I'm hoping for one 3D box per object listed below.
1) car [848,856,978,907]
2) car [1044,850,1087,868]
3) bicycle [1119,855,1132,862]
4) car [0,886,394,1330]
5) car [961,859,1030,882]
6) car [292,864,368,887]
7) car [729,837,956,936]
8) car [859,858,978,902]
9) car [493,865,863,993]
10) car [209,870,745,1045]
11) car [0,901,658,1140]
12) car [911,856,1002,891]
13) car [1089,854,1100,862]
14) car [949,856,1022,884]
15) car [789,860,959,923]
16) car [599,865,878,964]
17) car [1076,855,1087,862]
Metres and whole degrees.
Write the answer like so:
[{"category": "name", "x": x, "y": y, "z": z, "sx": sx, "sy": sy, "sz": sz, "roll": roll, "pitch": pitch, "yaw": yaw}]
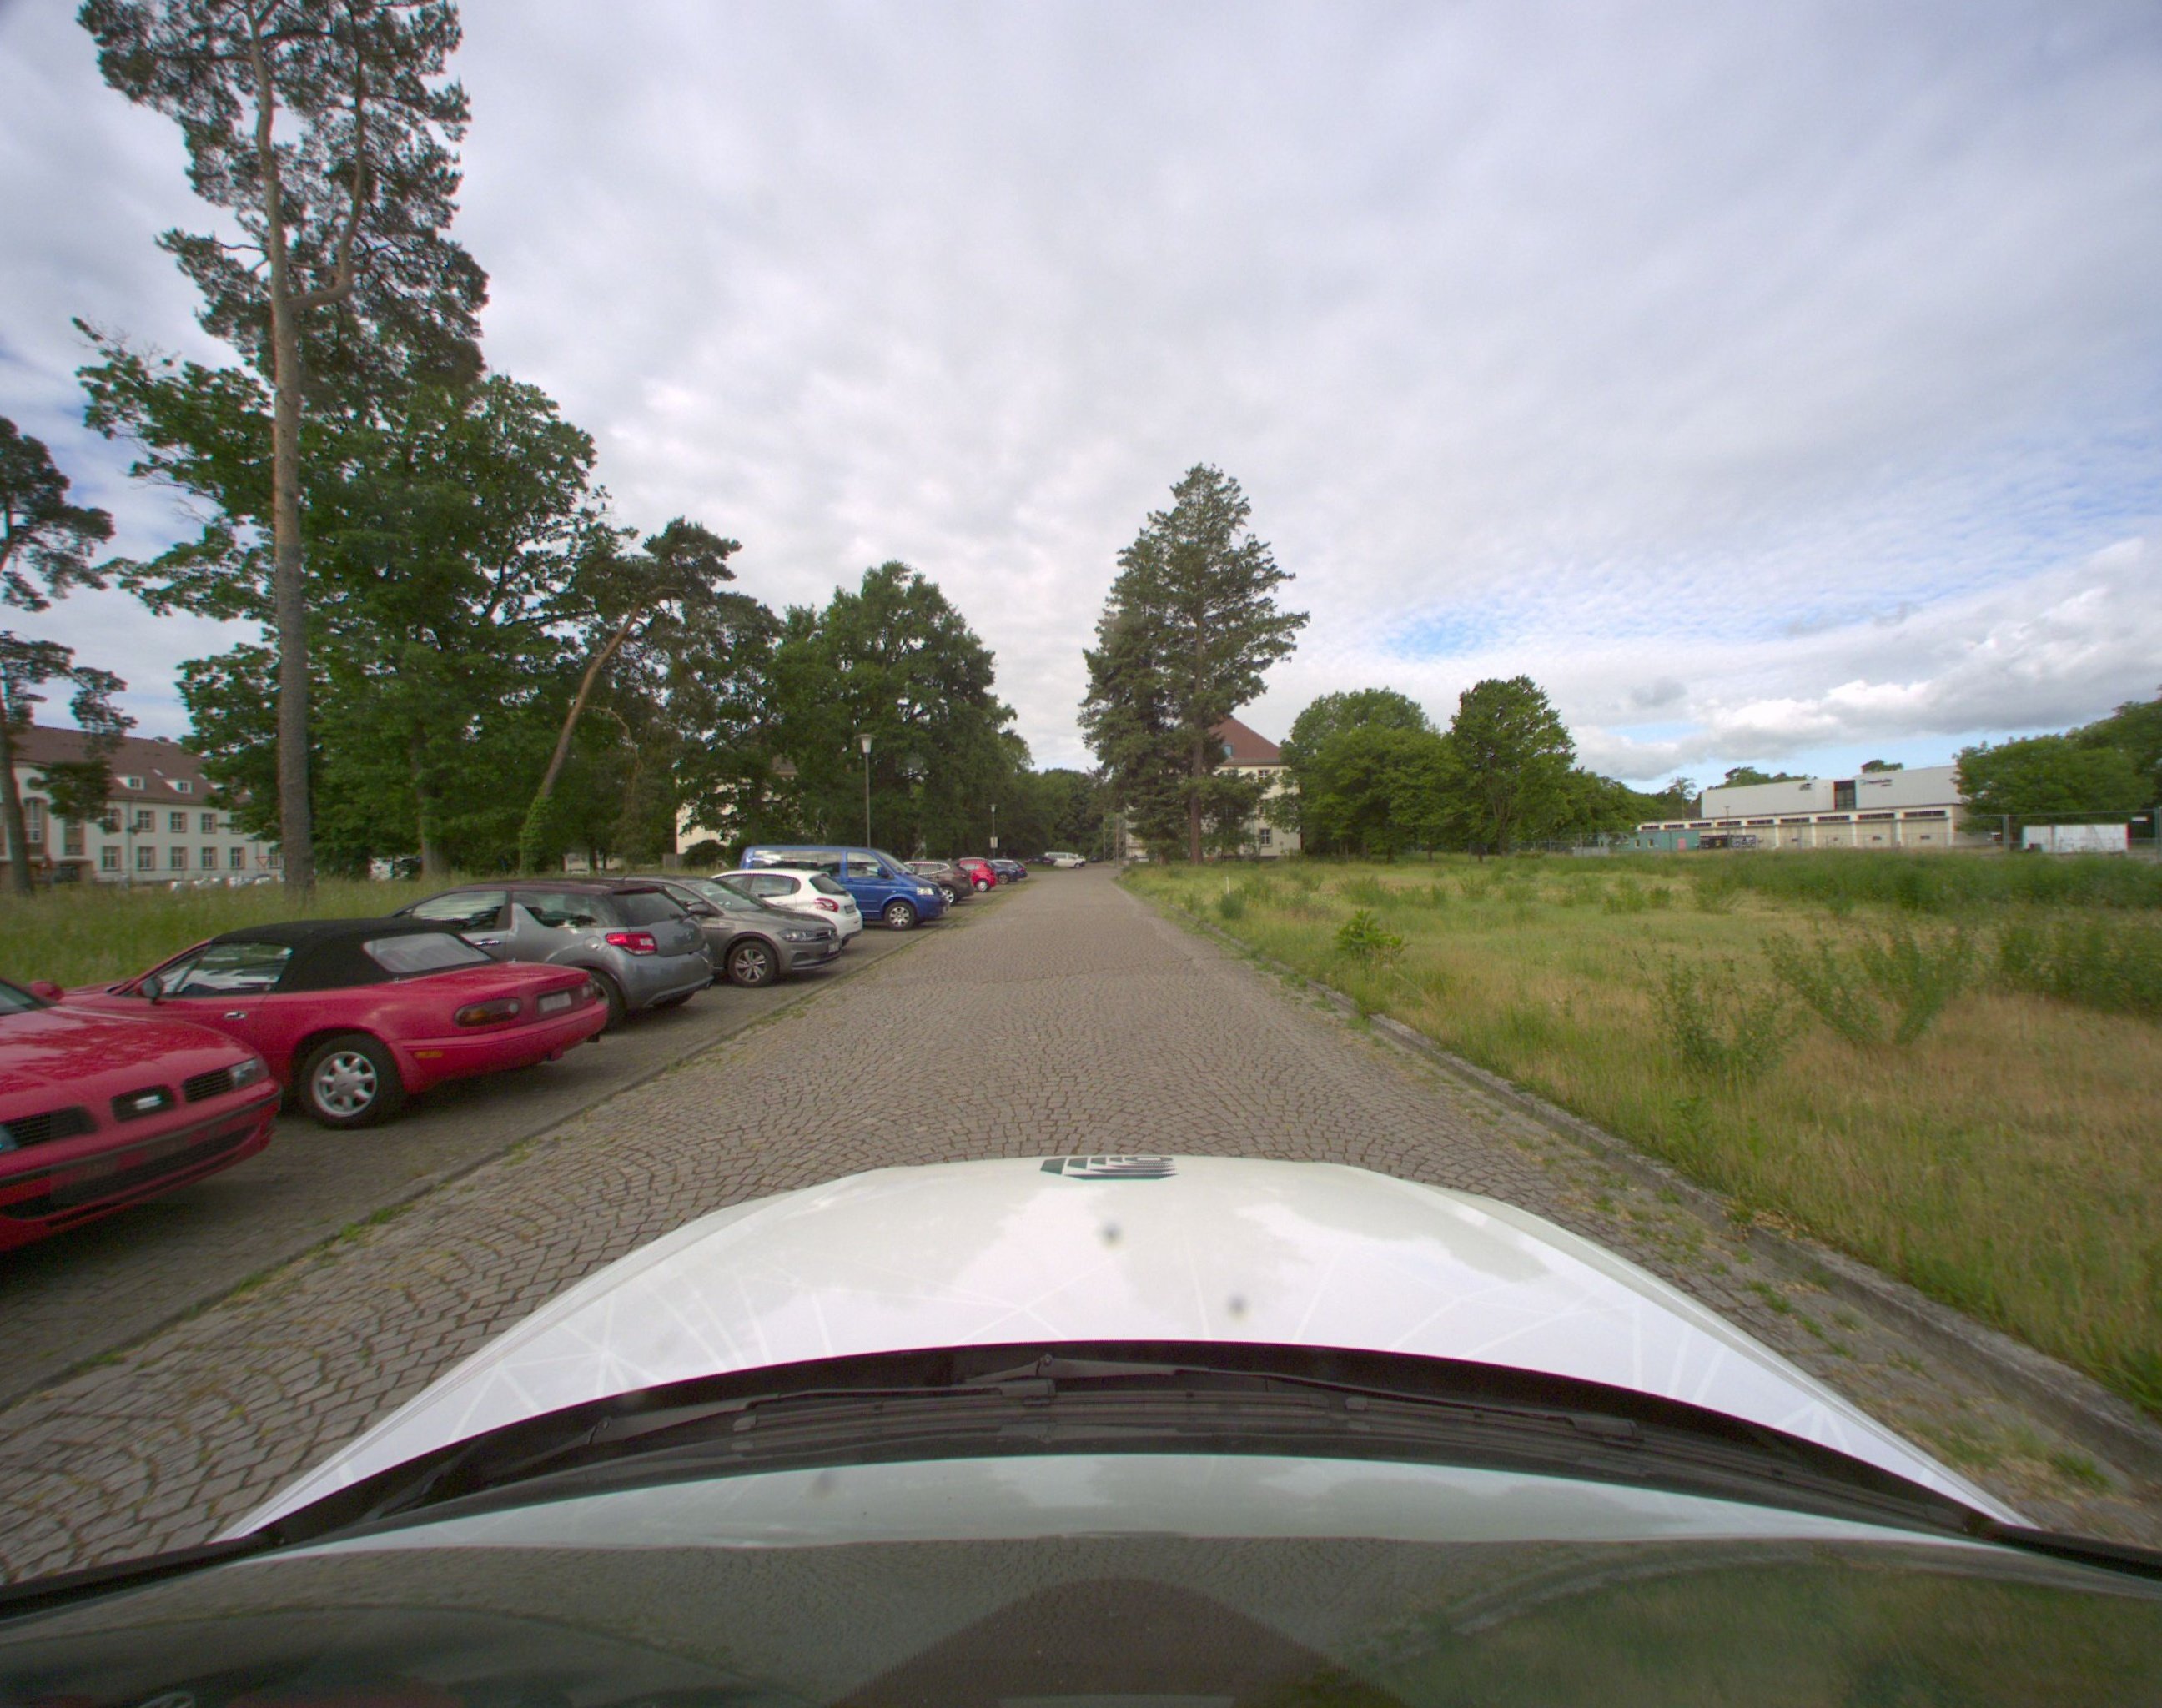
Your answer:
[{"category": "car", "x": -5.781, "y": 0.921, "z": 28.452, "sx": 4.157, "sy": 1.622, "sz": 1.984, "roll": -1, "pitch": 0, "yaw": -3}, {"category": "car", "x": -1.980, "y": 0.647, "z": 102.668, "sx": 5.223, "sy": 2.168, "sz": 1.998, "roll": -1, "pitch": 0, "yaw": -3}, {"category": "bicycle", "x": 7.655, "y": 0.797, "z": 141.591, "sx": 2.232, "sy": 1.254, "sz": 0.634, "roll": -1, "pitch": -1, "yaw": 1}, {"category": "car", "x": -5.861, "y": 0.969, "z": 3.483, "sx": 4.154, "sy": 1.476, "sz": 1.864, "roll": -1, "pitch": 0, "yaw": -2}, {"category": "car", "x": -5.591, "y": 1.087, "z": 53.792, "sx": 4.288, "sy": 1.461, "sz": 1.975, "roll": 0, "pitch": 0, "yaw": 0}, {"category": "car", "x": -68.907, "y": 1.942, "z": 74.830, "sx": 1.986, "sy": 2.014, "sz": 5.233, "roll": -2, "pitch": -1, "yaw": 2}, {"category": "car", "x": -5.571, "y": 0.735, "z": 19.576, "sx": 4.769, "sy": 2.122, "sz": 2.114, "roll": -1, "pitch": 0, "yaw": -2}, {"category": "car", "x": -6.128, "y": 0.954, "z": 31.186, "sx": 4.155, "sy": 1.510, "sz": 1.906, "roll": -1, "pitch": 0, "yaw": -2}, {"category": "car", "x": -5.390, "y": 0.970, "z": 11.312, "sx": 4.151, "sy": 1.491, "sz": 1.865, "roll": -1, "pitch": 0, "yaw": 1}, {"category": "car", "x": -6.006, "y": 0.978, "z": 8.508, "sx": 4.152, "sy": 1.482, "sz": 1.845, "roll": -1, "pitch": 0, "yaw": 0}, {"category": "car", "x": -5.628, "y": 1.076, "z": 5.859, "sx": 4.152, "sy": 1.266, "sz": 1.831, "roll": -1, "pitch": 0, "yaw": 0}, {"category": "car", "x": -5.880, "y": 0.914, "z": 38.821, "sx": 4.044, "sy": 1.525, "sz": 1.903, "roll": -1, "pitch": 0, "yaw": -2}, {"category": "car", "x": 2.764, "y": 0.836, "z": 169.027, "sx": 1.946, "sy": 1.521, "sz": 3.997, "roll": -1, "pitch": 0, "yaw": -2}, {"category": "car", "x": -5.703, "y": 0.951, "z": 49.093, "sx": 4.217, "sy": 1.577, "sz": 1.886, "roll": 0, "pitch": 0, "yaw": -2}, {"category": "car", "x": -5.525, "y": 0.988, "z": 22.165, "sx": 4.156, "sy": 1.510, "sz": 1.779, "roll": -1, "pitch": 0, "yaw": -3}, {"category": "car", "x": -5.847, "y": 1.000, "z": 14.278, "sx": 4.054, "sy": 1.497, "sz": 1.845, "roll": -1, "pitch": 0, "yaw": 0}, {"category": "car", "x": 0.096, "y": 0.915, "z": 168.686, "sx": 2.113, "sy": 1.521, "sz": 3.997, "roll": -1, "pitch": 0, "yaw": -2}]
